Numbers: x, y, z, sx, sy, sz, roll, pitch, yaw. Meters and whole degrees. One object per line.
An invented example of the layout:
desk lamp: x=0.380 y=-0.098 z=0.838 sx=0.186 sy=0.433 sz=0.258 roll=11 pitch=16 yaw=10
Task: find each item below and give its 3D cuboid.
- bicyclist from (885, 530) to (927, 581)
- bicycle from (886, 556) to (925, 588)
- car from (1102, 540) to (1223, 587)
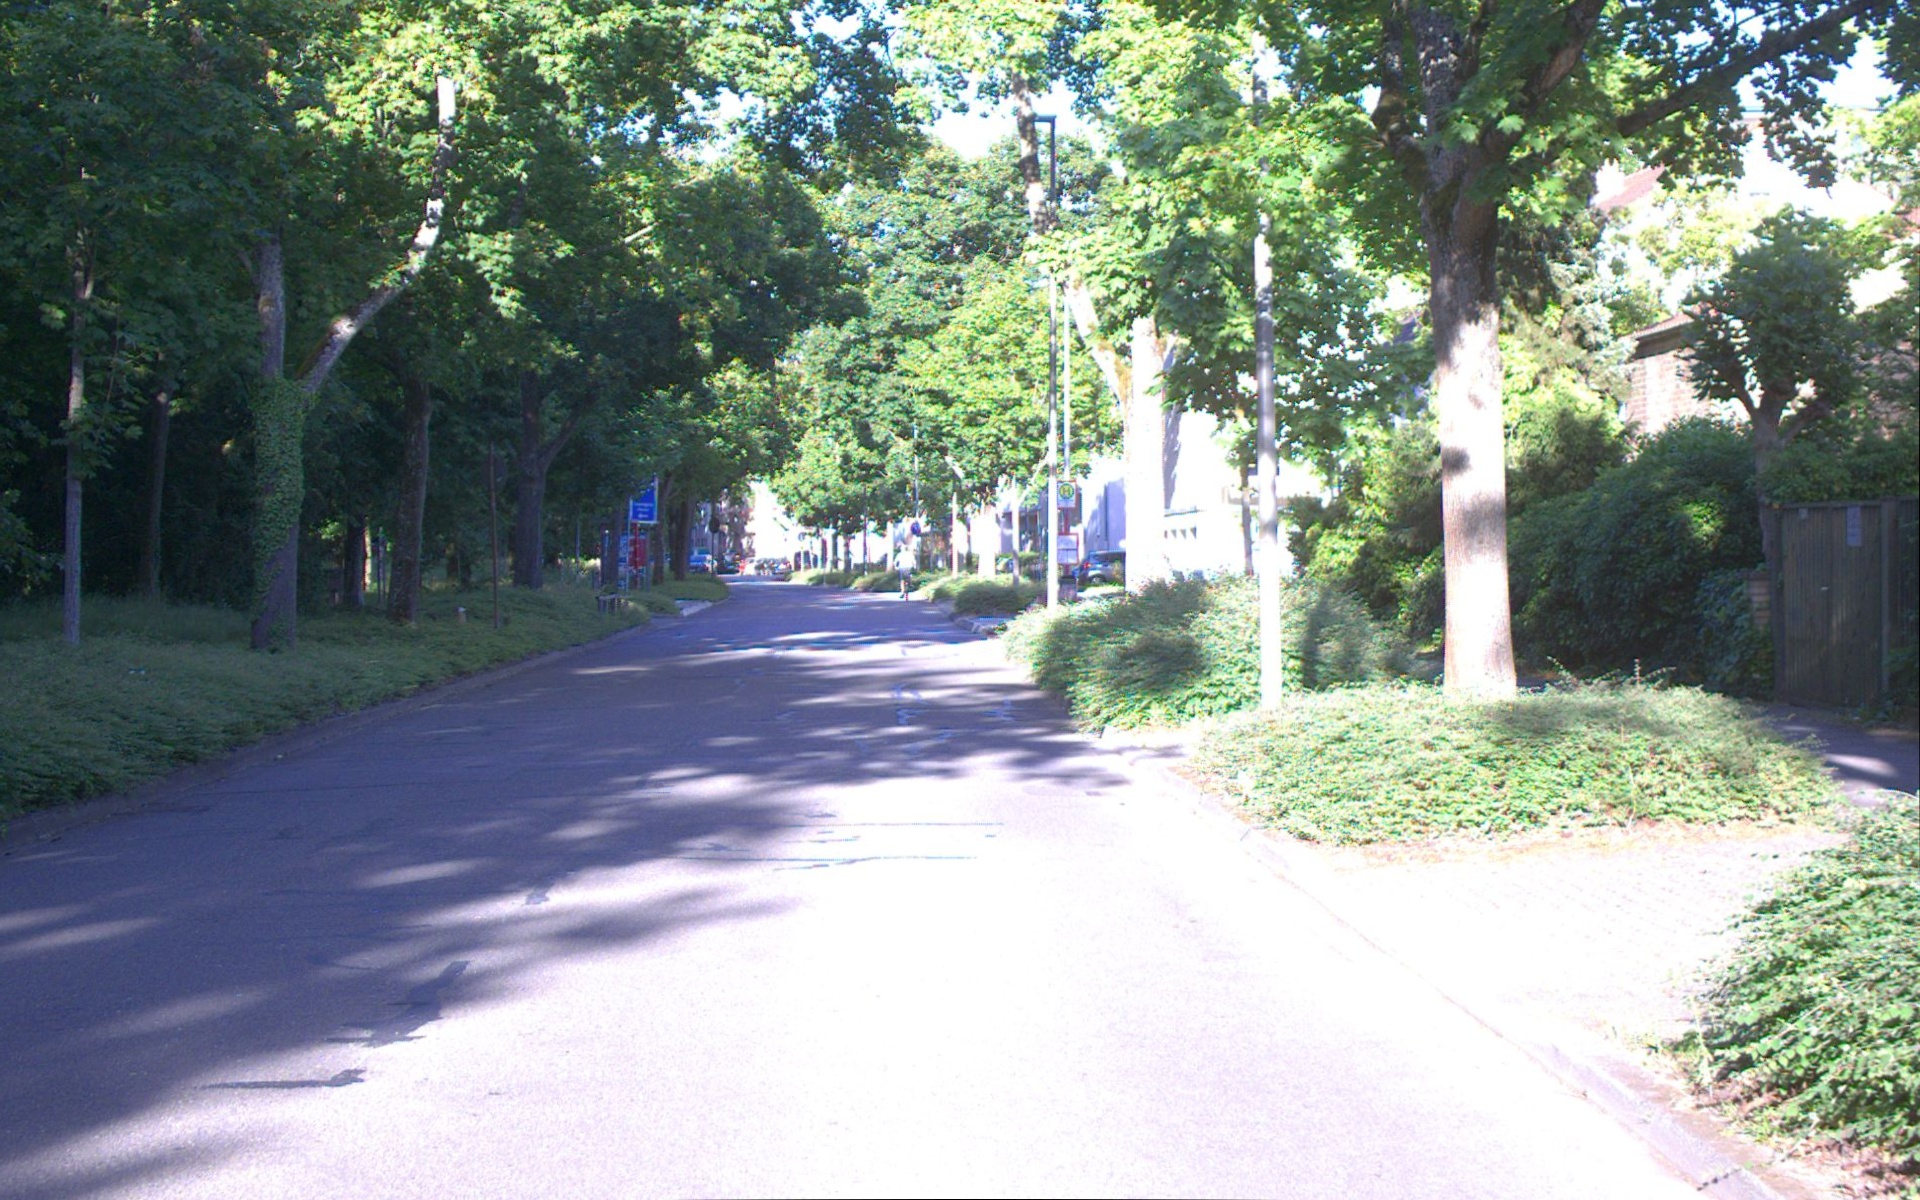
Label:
bicyclist: x=-1.765 y=-1.450 z=112.379 sx=0.869 sy=1.635 sz=1.112 roll=2 pitch=2 yaw=33
bicycle: x=-1.779 y=-0.920 z=112.453 sx=0.440 sy=0.975 sz=1.658 roll=1 pitch=3 yaw=33
car: x=7.499 y=-1.362 z=127.148 sx=4.351 sy=1.349 sz=2.143 roll=3 pitch=4 yaw=5
